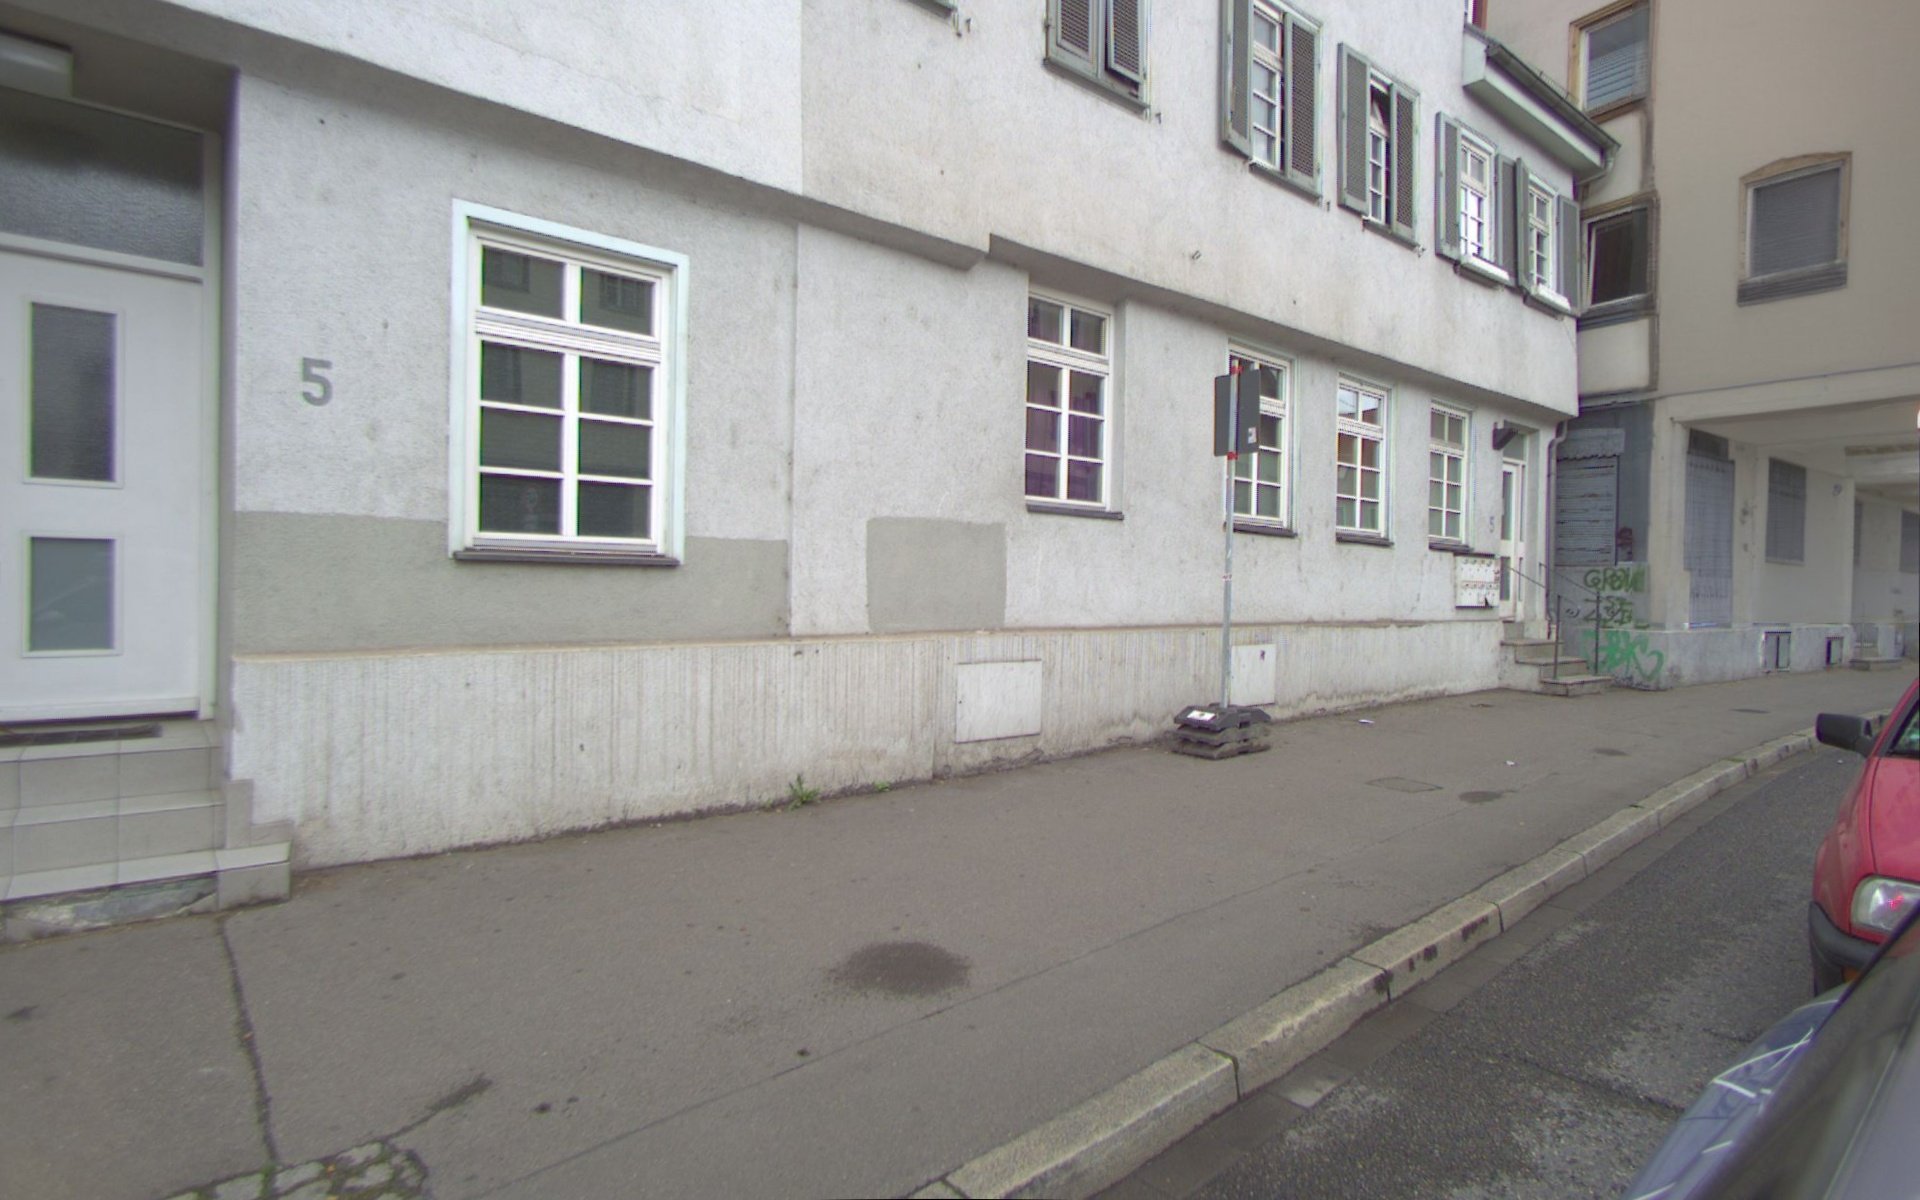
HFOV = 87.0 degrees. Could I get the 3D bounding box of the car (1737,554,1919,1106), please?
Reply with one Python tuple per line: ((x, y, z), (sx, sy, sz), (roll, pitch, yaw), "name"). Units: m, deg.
((4.361, 0.665, 3.508), (3.927, 1.444, 1.792), (2, -1, -39), "car")
